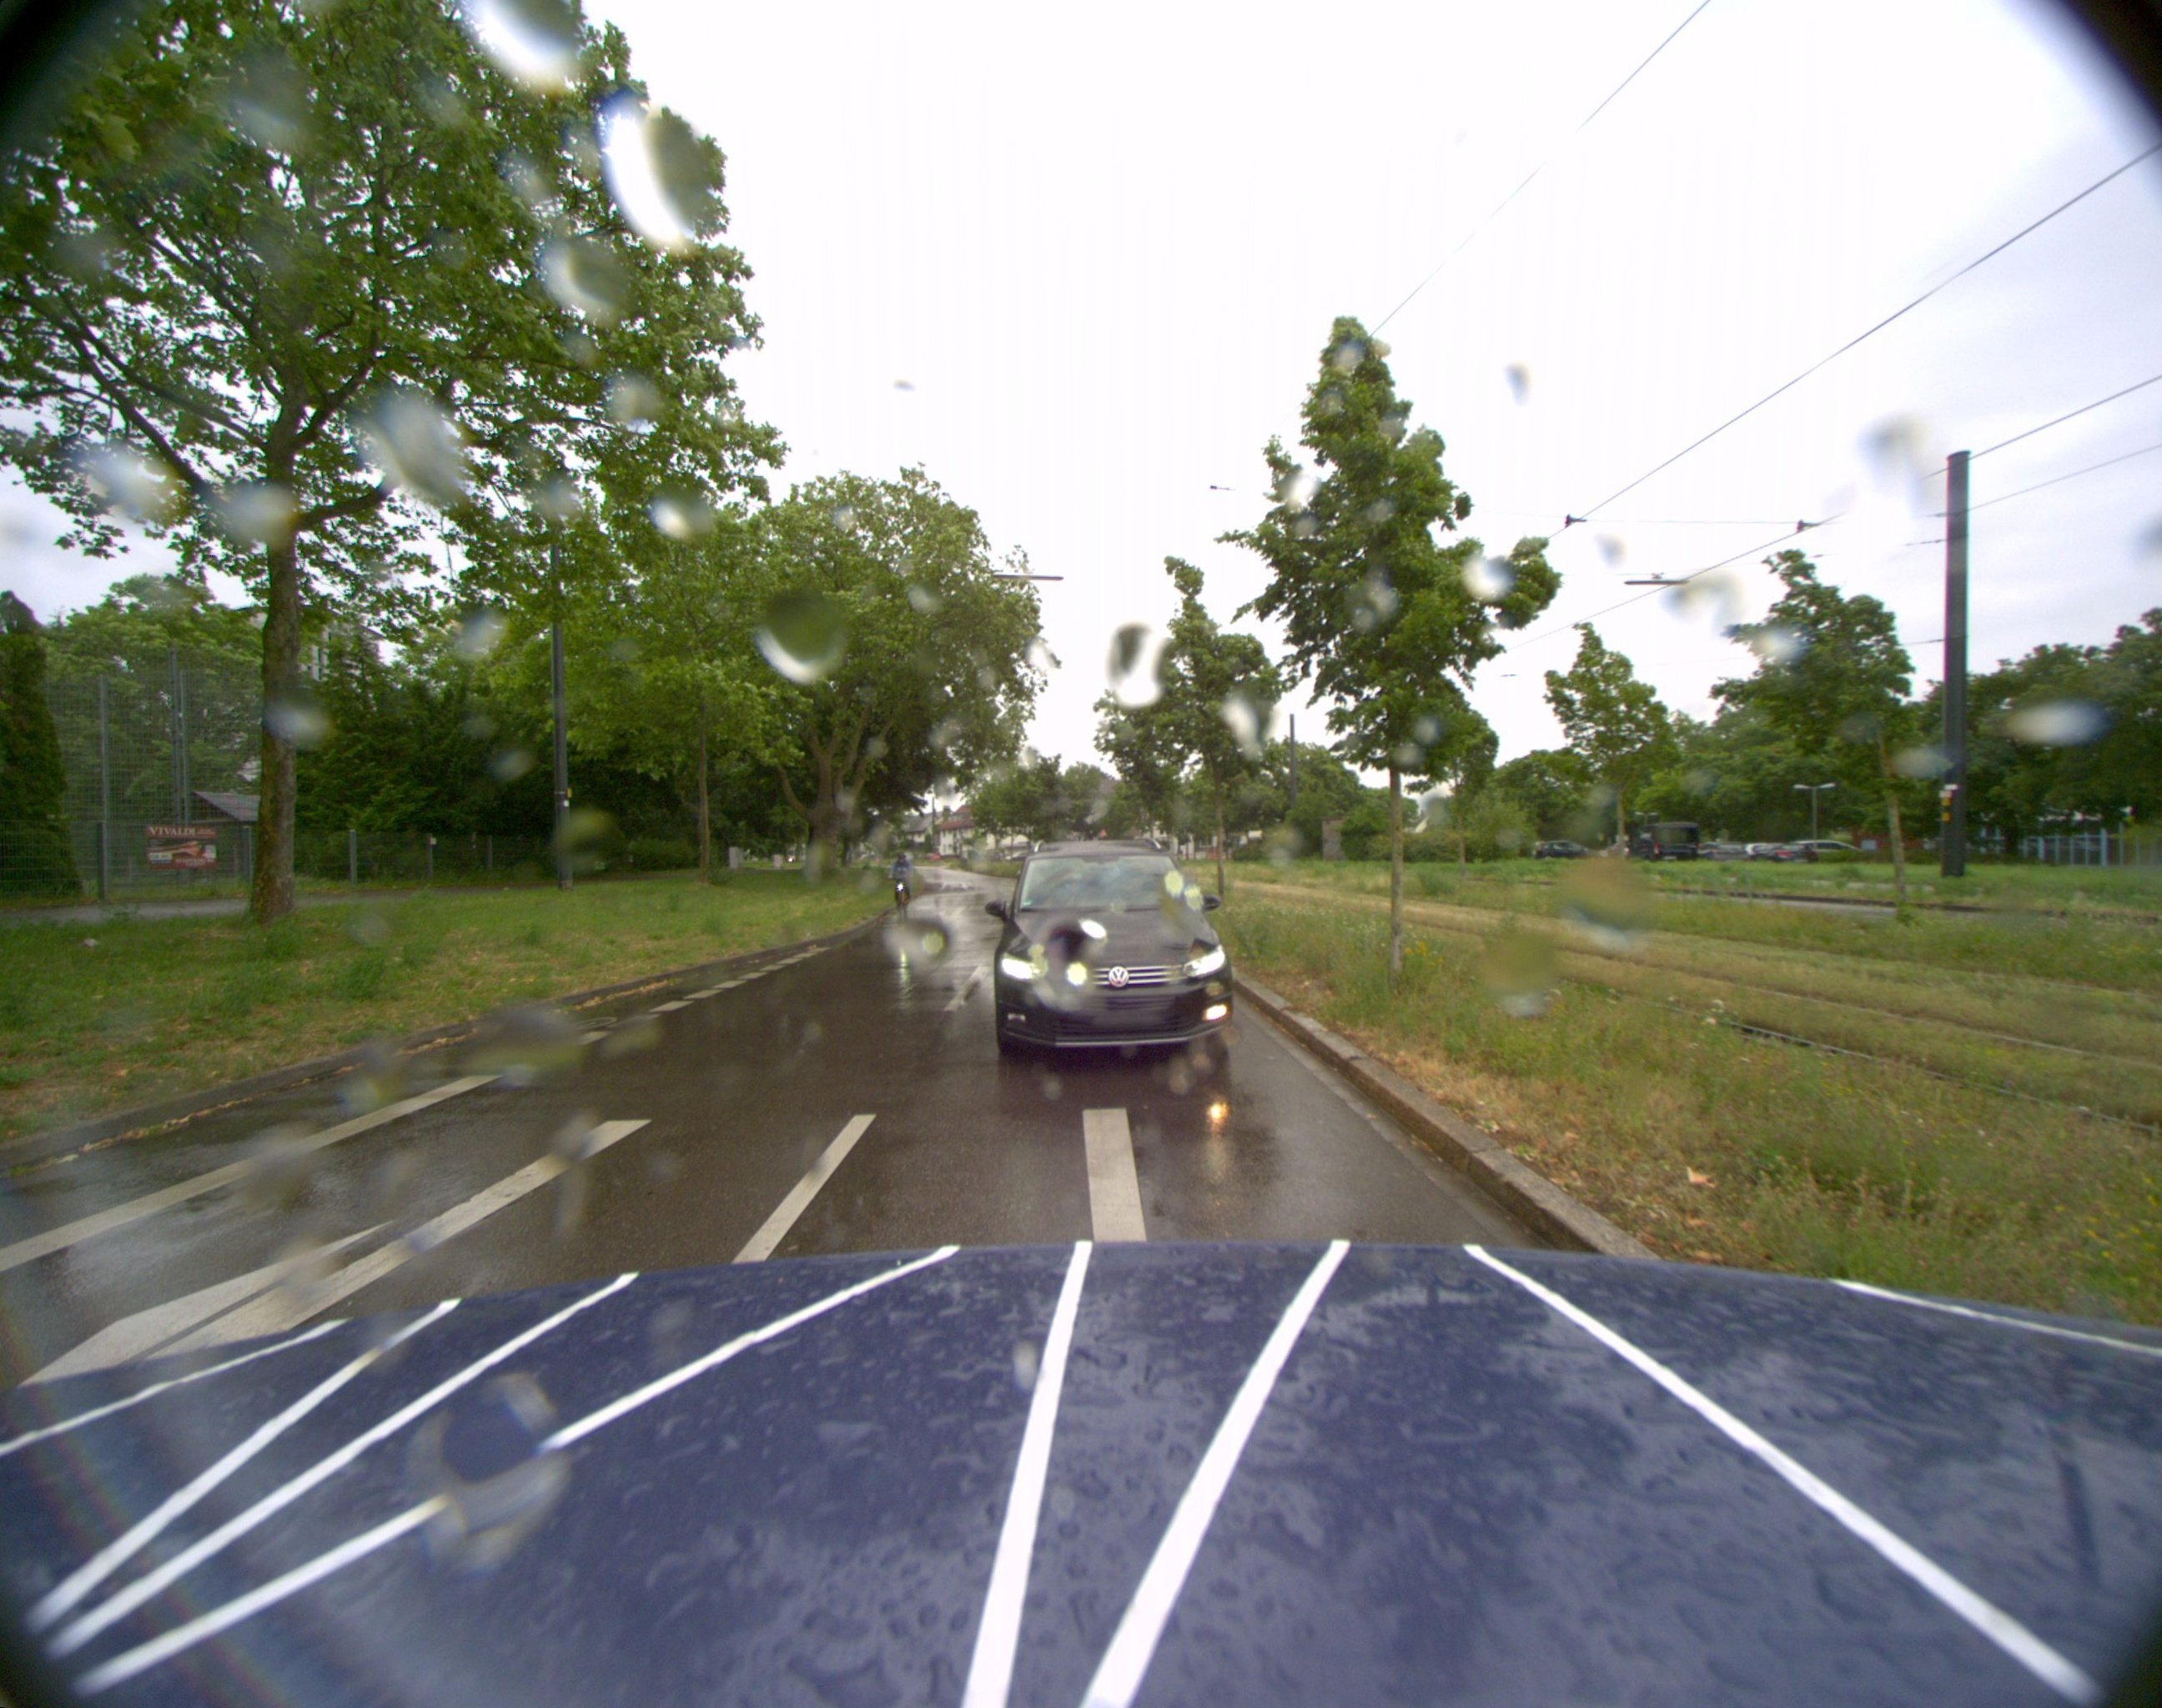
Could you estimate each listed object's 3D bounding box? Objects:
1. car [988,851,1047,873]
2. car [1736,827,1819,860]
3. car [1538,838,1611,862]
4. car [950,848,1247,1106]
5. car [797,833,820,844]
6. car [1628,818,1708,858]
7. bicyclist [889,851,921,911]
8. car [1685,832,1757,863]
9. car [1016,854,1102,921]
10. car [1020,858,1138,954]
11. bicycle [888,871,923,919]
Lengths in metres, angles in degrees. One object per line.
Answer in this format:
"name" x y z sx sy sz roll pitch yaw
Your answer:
"car" -4.661 0.569 55.600 4.046 1.412 1.674 -2 1 -10
"car" 36.608 -0.589 40.078 2.057 1.564 5.024 -2 1 29
"car" 34.826 -0.280 53.762 4.172 1.474 1.786 -2 1 27
"car" 0.140 0.787 7.200 1.866 1.592 4.524 -2 1 1
"car" -51.582 -2.968 143.749 4.004 1.816 1.996 -3 1 -24
"car" 31.997 -0.871 41.589 2.307 2.002 5.125 -2 1 24
"bicyclist" -4.618 0.692 20.006 0.693 1.497 0.843 -2 2 -8
"car" 34.642 -0.393 41.274 1.752 1.522 4.856 -2 1 24
"car" -0.654 0.758 19.007 1.789 1.396 3.791 -2 1 -6
"car" -0.091 0.823 13.801 1.788 1.355 3.996 -2 1 -2
"bicycle" -4.609 1.045 20.020 0.693 1.110 1.883 -2 1 -8
